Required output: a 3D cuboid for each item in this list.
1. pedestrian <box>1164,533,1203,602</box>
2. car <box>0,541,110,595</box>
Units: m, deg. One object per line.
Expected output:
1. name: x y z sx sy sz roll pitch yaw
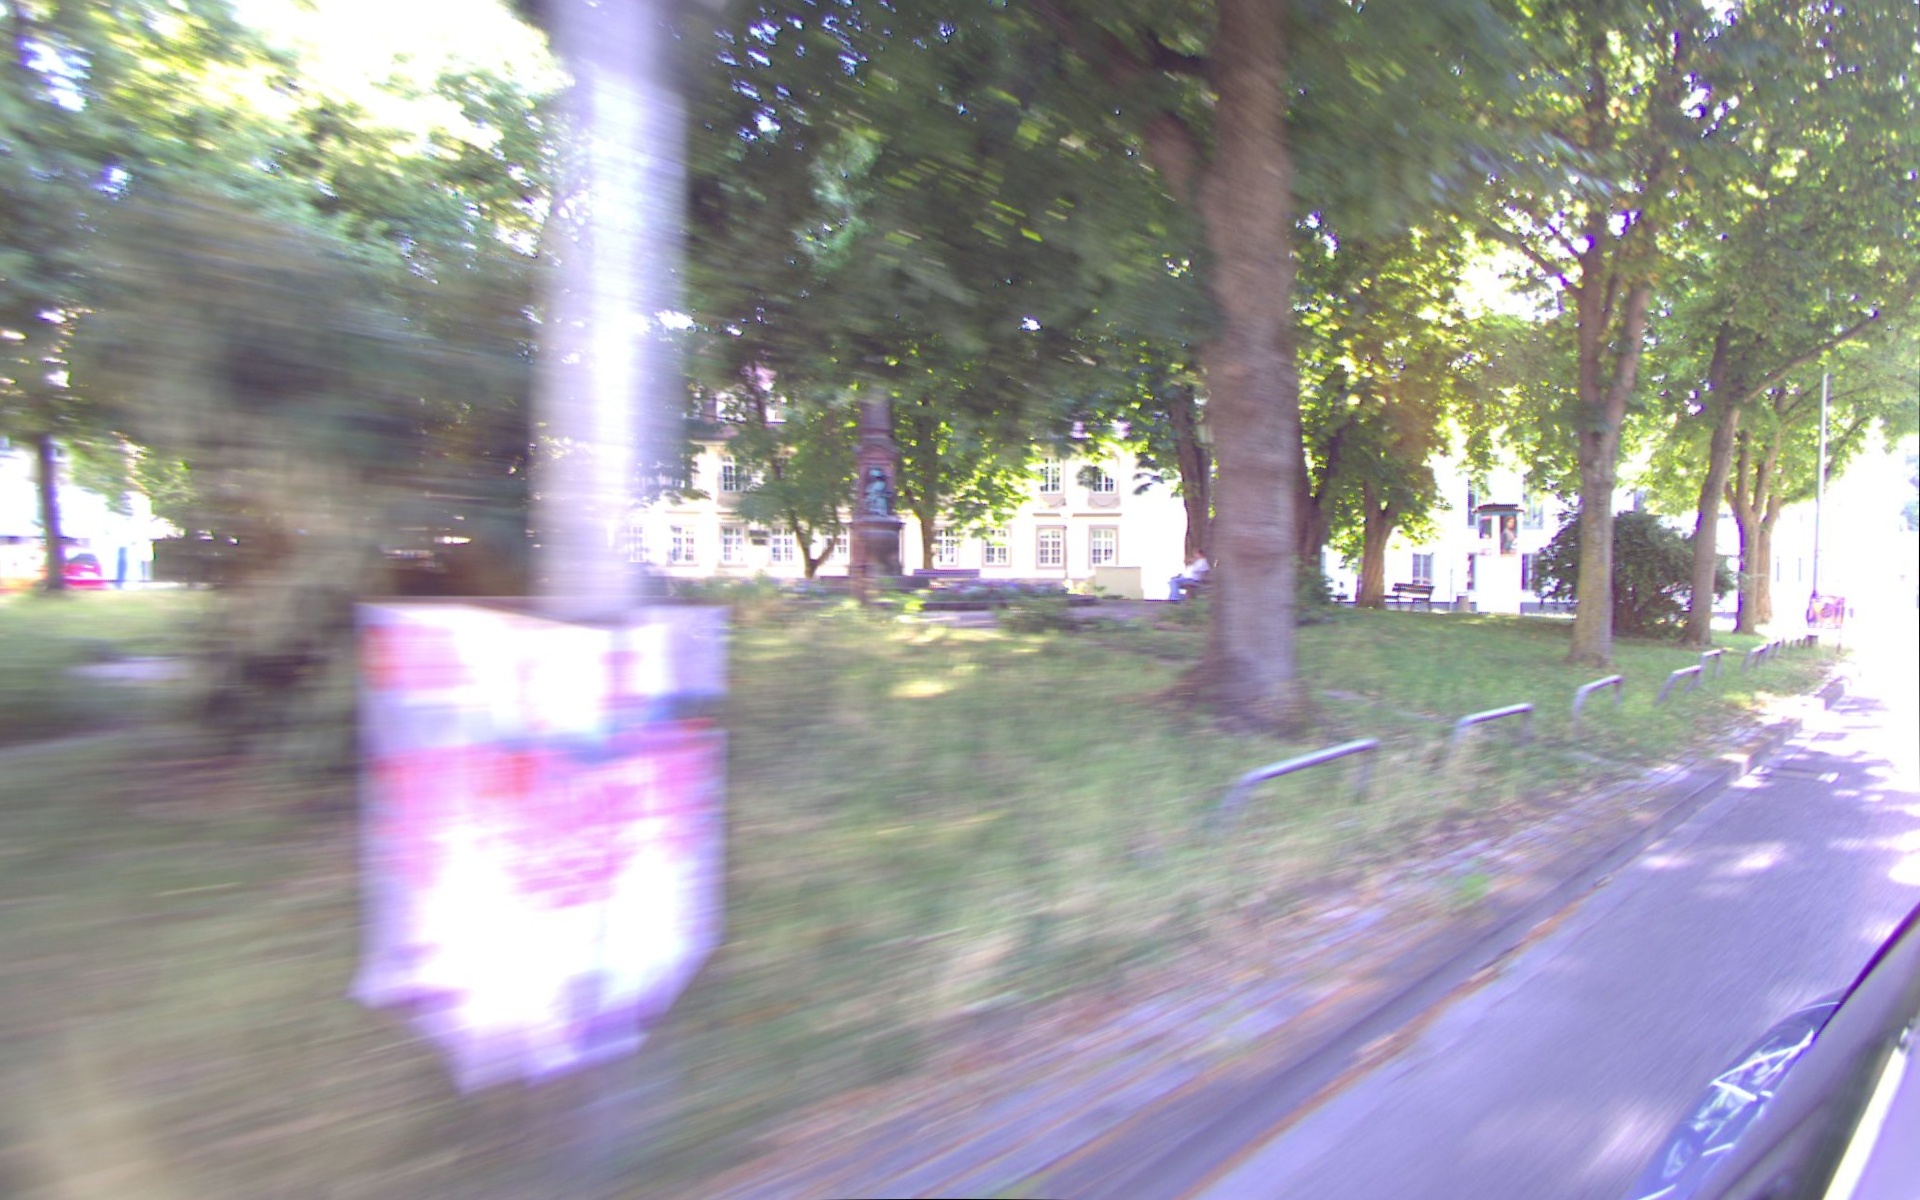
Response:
1. pedestrian: 4.476 -0.652 20.247 0.686 1.334 0.679 2 2 17
2. car: -34.733 -1.211 37.950 3.992 1.945 2.002 1 1 -3
